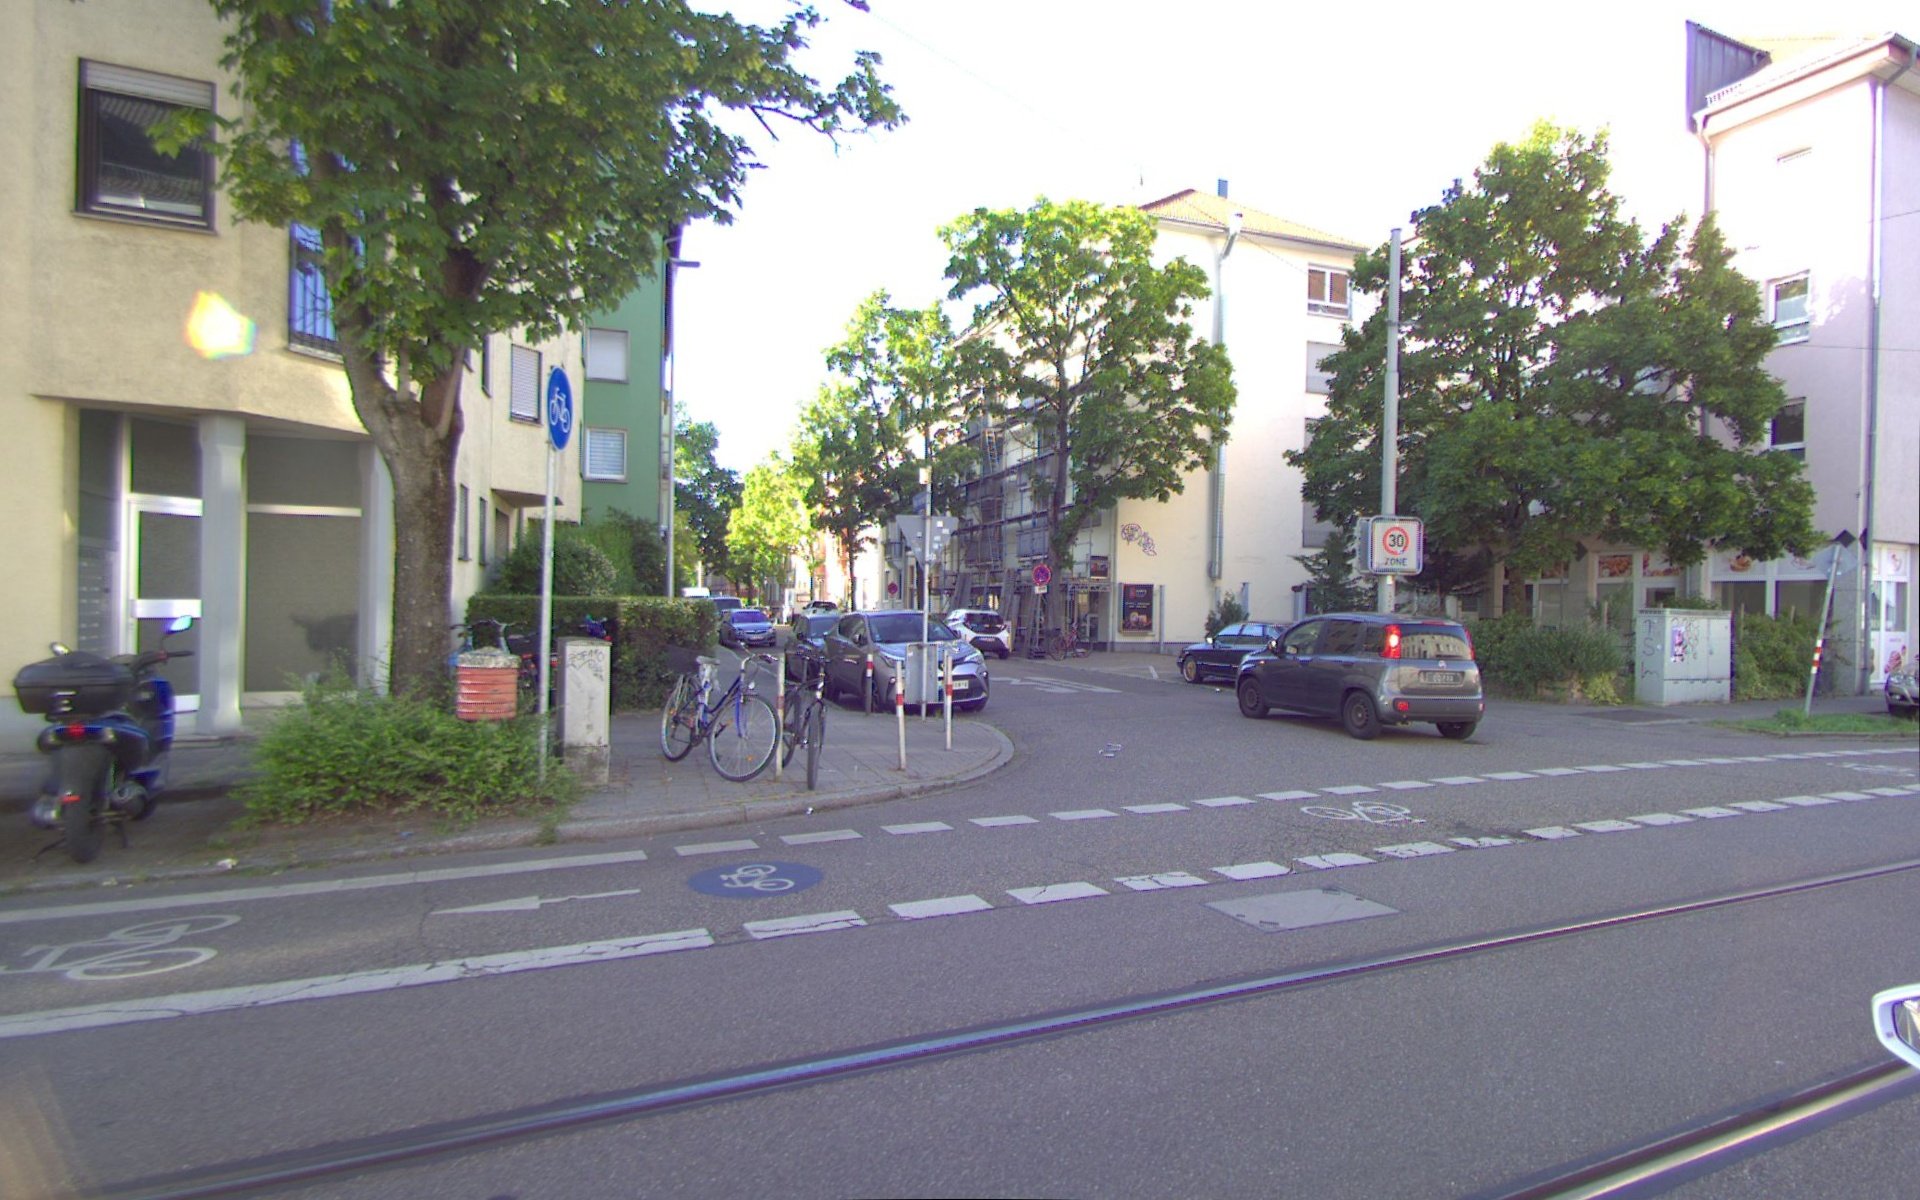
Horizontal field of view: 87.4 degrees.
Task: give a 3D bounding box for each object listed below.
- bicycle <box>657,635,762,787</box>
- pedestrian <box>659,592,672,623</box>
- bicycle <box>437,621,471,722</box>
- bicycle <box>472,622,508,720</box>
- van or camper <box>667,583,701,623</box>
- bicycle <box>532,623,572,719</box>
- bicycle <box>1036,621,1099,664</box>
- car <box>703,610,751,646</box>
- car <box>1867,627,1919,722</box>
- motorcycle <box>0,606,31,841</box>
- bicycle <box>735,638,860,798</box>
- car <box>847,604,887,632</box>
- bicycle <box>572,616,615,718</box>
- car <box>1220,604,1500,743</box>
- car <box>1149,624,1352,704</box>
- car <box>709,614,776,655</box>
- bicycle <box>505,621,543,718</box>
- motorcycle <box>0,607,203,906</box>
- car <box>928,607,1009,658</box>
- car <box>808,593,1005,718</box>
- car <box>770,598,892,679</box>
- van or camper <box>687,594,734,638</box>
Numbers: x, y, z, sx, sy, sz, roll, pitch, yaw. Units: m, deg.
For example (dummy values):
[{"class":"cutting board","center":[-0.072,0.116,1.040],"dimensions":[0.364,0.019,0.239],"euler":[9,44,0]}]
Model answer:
[{"class":"bicycle","center":[-2.159,0.870,8.518],"dimensions":[0.587,1.099,1.802],"euler":[1,0,-23]},{"class":"pedestrian","center":[-19.150,0.487,65.312],"dimensions":[0.676,1.944,0.614],"euler":[1,0,-23]},{"class":"bicycle","center":[-6.002,0.815,11.909],"dimensions":[0.328,1.060,1.383],"euler":[1,1,-27]},{"class":"bicycle","center":[-5.670,0.825,12.097],"dimensions":[0.328,1.060,1.383],"euler":[1,1,-27]},{"class":"van or camper","center":[-19.068,0.193,69.256],"dimensions":[1.969,2.587,5.001],"euler":[1,0,-19]},{"class":"bicycle","center":[-5.053,0.846,12.408],"dimensions":[0.328,1.060,1.383],"euler":[1,1,-27]},{"class":"bicycle","center":[3.326,1.299,31.058],"dimensions":[1.967,1.181,0.719],"euler":[-2,1,-36]},{"class":"car","center":[-10.109,1.189,43.409],"dimensions":[1.666,1.473,3.694],"euler":[0,0,-19]},{"class":"car","center":[17.174,1.259,16.650],"dimensions":[3.946,1.462,1.738],"euler":[1,3,-26]},{"class":"motorcycle","center":[-6.162,0.771,5.755],"dimensions":[0.827,1.466,1.958],"euler":[1,0,-31]},{"class":"bicycle","center":[-1.382,0.894,8.247],"dimensions":[0.587,1.099,1.873],"euler":[1,0,-23]},{"class":"car","center":[-5.299,1.024,56.943],"dimensions":[1.537,1.428,3.369],"euler":[4,-1,-16]},{"class":"bicycle","center":[-4.625,0.807,12.640],"dimensions":[0.328,1.159,1.383],"euler":[1,1,-27]},{"class":"car","center":[5.053,0.876,13.176],"dimensions":[1.537,1.553,3.473],"euler":[2,-1,-18]},{"class":"car","center":[5.853,1.247,20.889],"dimensions":[1.688,1.406,4.549],"euler":[2,-1,-20]},{"class":"car","center":[-8.544,1.297,39.180],"dimensions":[1.956,1.475,4.093],"euler":[0,0,-21]},{"class":"bicycle","center":[-5.332,0.813,12.252],"dimensions":[0.328,1.060,1.383],"euler":[1,1,-27]},{"class":"motorcycle","center":[-5.058,0.785,5.933],"dimensions":[0.712,1.466,1.958],"euler":[1,0,-31]},{"class":"car","center":[0.216,1.023,32.577],"dimensions":[1.653,1.565,3.390],"euler":[1,-1,-18]},{"class":"car","center":[-0.993,0.770,15.885],"dimensions":[1.882,1.682,3.978],"euler":[-1,0,-23]},{"class":"car","center":[-2.815,0.740,21.144],"dimensions":[1.731,1.517,4.117],"euler":[-1,0,-19]},{"class":"van or camper","center":[-12.303,0.754,49.408],"dimensions":[1.968,2.040,4.893],"euler":[0,0,-17]}]
